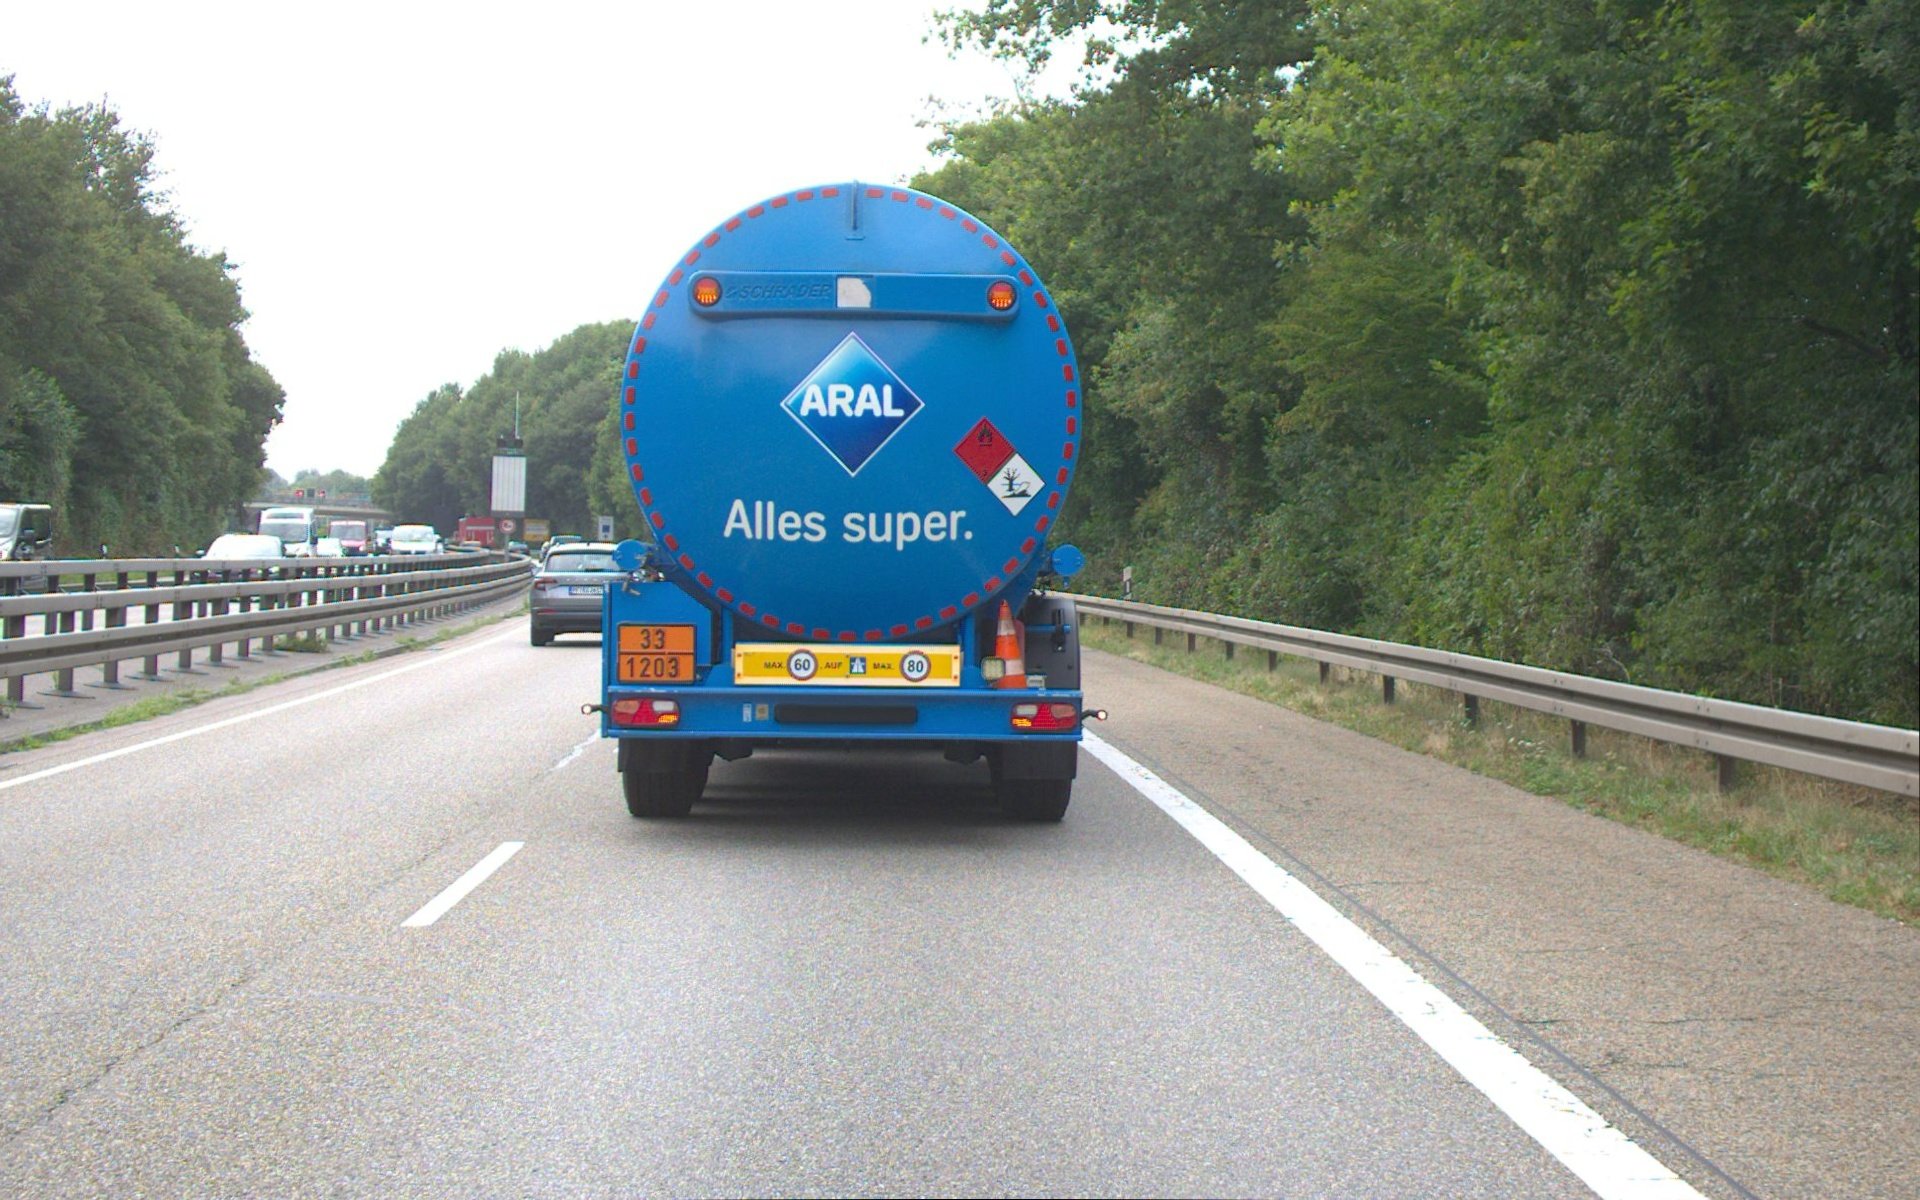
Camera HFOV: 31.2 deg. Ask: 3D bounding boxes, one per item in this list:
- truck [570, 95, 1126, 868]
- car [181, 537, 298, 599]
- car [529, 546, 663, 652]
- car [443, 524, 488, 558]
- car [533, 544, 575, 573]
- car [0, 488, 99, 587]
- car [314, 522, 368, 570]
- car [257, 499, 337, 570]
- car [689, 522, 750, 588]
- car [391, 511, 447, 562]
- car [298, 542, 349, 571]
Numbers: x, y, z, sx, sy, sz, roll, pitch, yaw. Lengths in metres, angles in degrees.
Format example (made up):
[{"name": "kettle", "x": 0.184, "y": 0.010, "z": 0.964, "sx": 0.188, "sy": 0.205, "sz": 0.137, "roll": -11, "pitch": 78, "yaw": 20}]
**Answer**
[{"name": "truck", "x": -0.574, "y": -0.645, "z": 20.935, "sx": 2.755, "sy": 3.833, "sz": 7.689, "roll": 0, "pitch": 1, "yaw": 0}, {"name": "car", "x": -15.260, "y": -0.677, "z": 72.974, "sx": 1.655, "sy": 1.274, "sz": 4.713, "roll": 0, "pitch": 1, "yaw": -2}, {"name": "car", "x": -5.735, "y": -0.036, "z": 54.557, "sx": 1.826, "sy": 1.604, "sz": 4.168, "roll": 0, "pitch": 0, "yaw": -2}, {"name": "car", "x": -22.967, "y": -2.720, "z": 159.815, "sx": 1.781, "sy": 1.558, "sz": 4.015, "roll": 0, "pitch": 1, "yaw": -4}, {"name": "car", "x": -22.044, "y": -2.259, "z": 186.561, "sx": 1.993, "sy": 1.547, "sz": 4.001, "roll": 0, "pitch": 1, "yaw": -10}, {"name": "car", "x": -17.830, "y": -1.162, "z": 64.862, "sx": 2.035, "sy": 1.798, "sz": 5.124, "roll": 0, "pitch": 1, "yaw": -2}, {"name": "car", "x": -29.710, "y": -2.569, "z": 165.089, "sx": 2.066, "sy": 2.248, "sz": 5.376, "roll": 0, "pitch": 0, "yaw": -5}, {"name": "car", "x": -24.922, "y": -2.436, "z": 129.471, "sx": 2.311, "sy": 2.602, "sz": 5.554, "roll": 0, "pitch": 0, "yaw": -4}, {"name": "car", "x": -8.385, "y": -1.567, "z": 120.138, "sx": 1.993, "sy": 2.237, "sz": 4.000, "roll": 0, "pitch": 0, "yaw": -2}, {"name": "car", "x": -21.796, "y": -2.547, "z": 138.659, "sx": 1.821, "sy": 1.976, "sz": 5.058, "roll": 0, "pitch": 0, "yaw": -4}, {"name": "car", "x": -28.008, "y": -1.907, "z": 151.373, "sx": 1.774, "sy": 1.292, "sz": 4.108, "roll": 0, "pitch": 1, "yaw": -5}]
